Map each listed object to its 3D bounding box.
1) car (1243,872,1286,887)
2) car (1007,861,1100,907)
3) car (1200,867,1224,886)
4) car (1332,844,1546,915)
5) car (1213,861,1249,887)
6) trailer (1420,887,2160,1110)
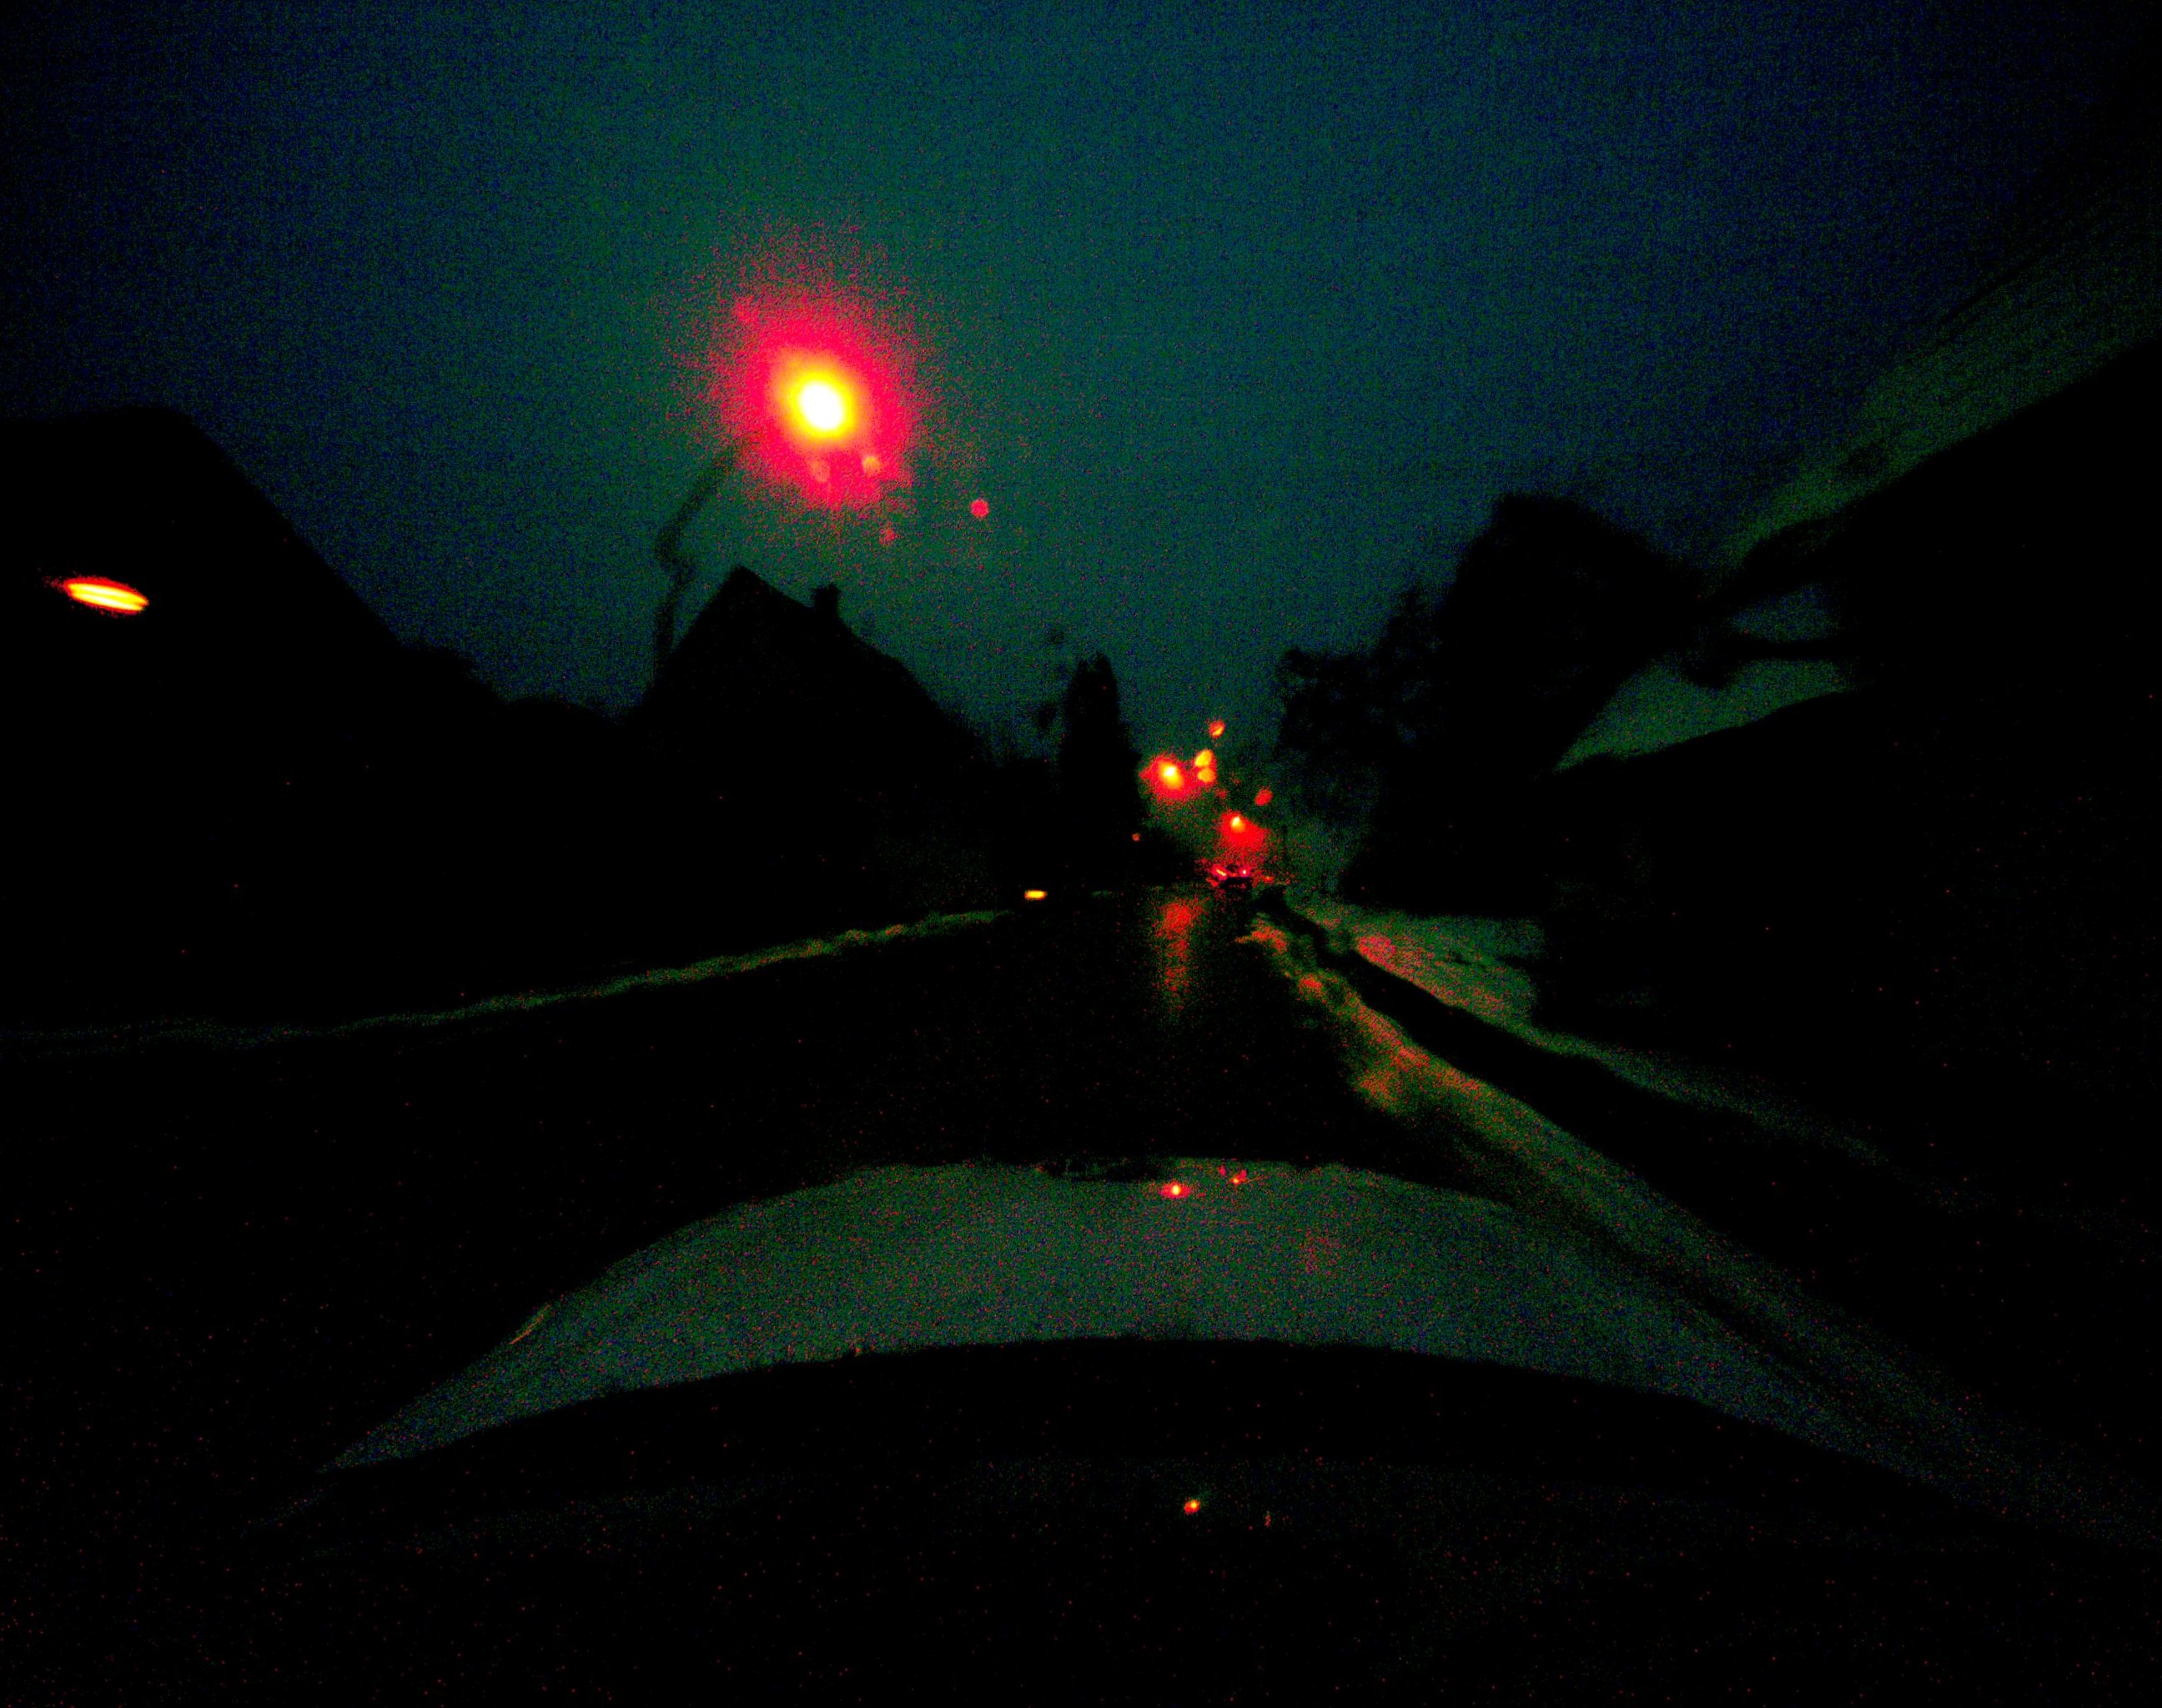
[{"bbox_3d":[23.093,3.247,102.281,4.843,1.485,2.135,-5,-4,24],"label":"car"},{"bbox_3d":[-0.815,0.949,28.024,1.864,1.426,5.411,-1,-1,13],"label":"car"},{"bbox_3d":[12.720,2.208,79.494,1.983,1.566,5.005,-5,-4,6],"label":"car"},{"bbox_3d":[8.485,0.574,19.754,4.419,1.382,2.043,3,0,13],"label":"car"},{"bbox_3d":[8.990,1.185,48.574,1.980,1.420,4.012,-2,-2,12],"label":"car"},{"bbox_3d":[4.584,0.794,6.140,1.548,0.946,3.977,-3,-1,-17],"label":"trailer"}]
